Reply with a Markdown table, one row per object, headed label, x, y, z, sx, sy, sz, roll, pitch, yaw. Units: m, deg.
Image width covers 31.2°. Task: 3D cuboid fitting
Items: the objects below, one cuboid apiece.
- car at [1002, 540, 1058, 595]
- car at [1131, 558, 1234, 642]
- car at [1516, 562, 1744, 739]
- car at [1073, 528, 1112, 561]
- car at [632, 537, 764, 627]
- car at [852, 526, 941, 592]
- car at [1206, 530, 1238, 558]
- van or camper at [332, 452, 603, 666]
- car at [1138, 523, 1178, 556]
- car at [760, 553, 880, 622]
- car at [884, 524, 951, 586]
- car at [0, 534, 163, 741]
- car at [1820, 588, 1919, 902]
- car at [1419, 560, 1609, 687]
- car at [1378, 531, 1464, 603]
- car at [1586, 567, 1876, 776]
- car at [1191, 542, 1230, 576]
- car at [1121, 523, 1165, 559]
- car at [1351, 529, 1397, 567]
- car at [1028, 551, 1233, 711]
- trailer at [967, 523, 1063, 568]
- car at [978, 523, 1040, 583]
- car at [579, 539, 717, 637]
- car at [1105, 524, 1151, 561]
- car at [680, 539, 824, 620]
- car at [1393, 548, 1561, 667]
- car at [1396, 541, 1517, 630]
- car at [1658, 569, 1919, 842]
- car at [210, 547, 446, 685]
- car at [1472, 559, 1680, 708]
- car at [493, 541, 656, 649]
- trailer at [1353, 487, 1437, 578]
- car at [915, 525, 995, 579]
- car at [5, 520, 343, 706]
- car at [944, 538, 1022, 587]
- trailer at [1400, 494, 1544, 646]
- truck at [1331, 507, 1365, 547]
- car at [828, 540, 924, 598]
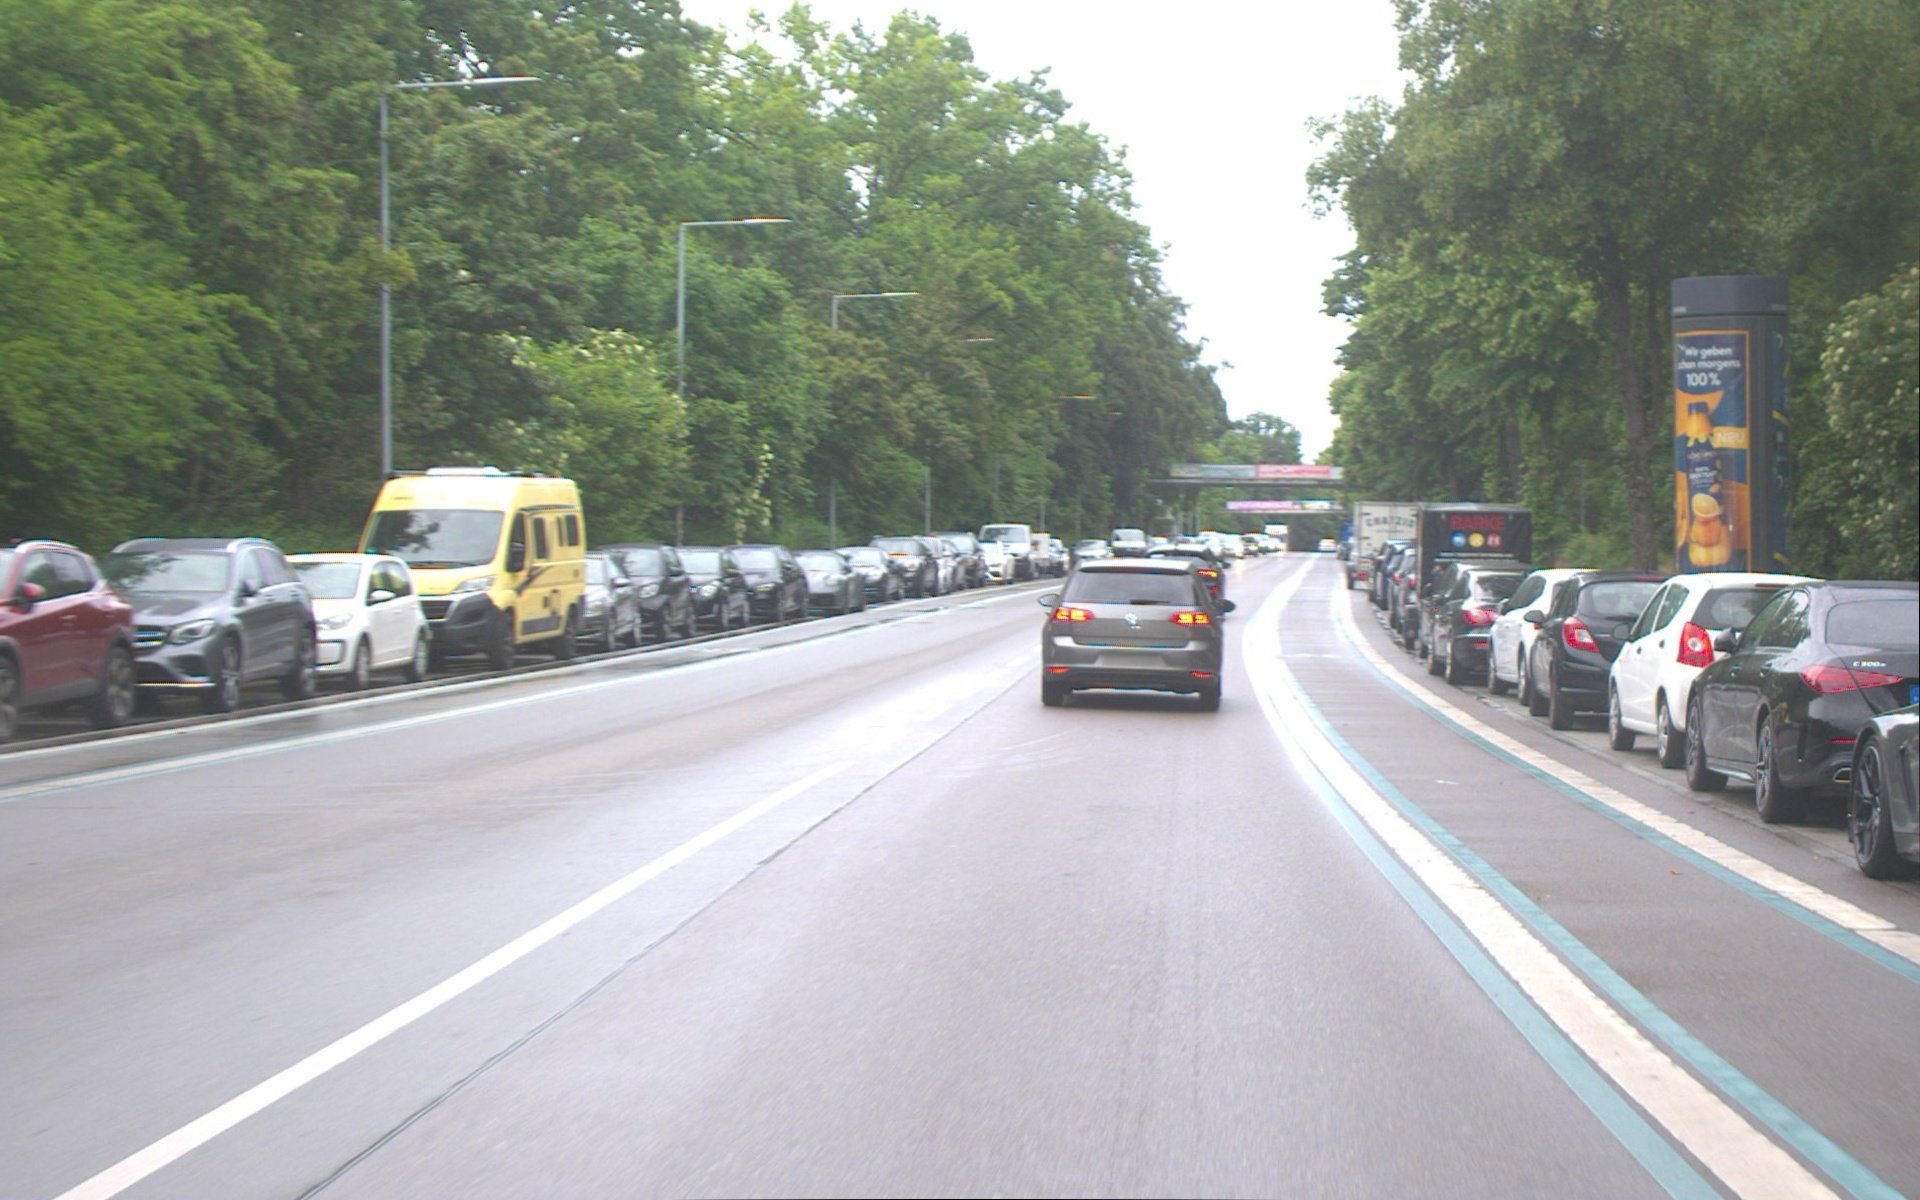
| label | x | y | z | sx | sy | sz | roll | pitch | yaw |
| --- | --- | --- | --- | --- | --- | --- | --- | --- | --- |
| car | 2.661 | -1.243 | 129.659 | 1.940 | 2.007 | 4.740 | 1 | 1 | 3 |
| car | 4.316 | -0.017 | 67.047 | 1.881 | 1.461 | 4.000 | 2 | 2 | 3 |
| car | 6.282 | 0.425 | 32.589 | 1.659 | 1.460 | 3.899 | 3 | 1 | 5 |
| car | 6.329 | -2.657 | 163.850 | 1.673 | 1.508 | 3.630 | 1 | 2 | 5 |
| car | -4.630 | -0.346 | 61.191 | 1.603 | 1.505 | 3.976 | 0 | 1 | 7 |
| car | -1.545 | -1.030 | 85.200 | 1.696 | 1.578 | 4.138 | 0 | 1 | 6 |
| car | 16.177 | -3.437 | 212.537 | 1.823 | 1.700 | 3.856 | 1 | 1 | 6 |
| van or camper | -6.346 | -0.564 | 45.023 | 2.144 | 2.618 | 5.681 | 0 | 1 | 7 |
| car | 12.275 | -3.766 | 212.904 | 2.159 | 2.007 | 5.030 | 0 | 1 | 7 |
| car | -2.833 | -0.280 | 70.574 | 1.870 | 1.299 | 4.470 | 1 | 1 | 5 |
| car | -1.095 | -1.191 | 89.623 | 1.461 | 1.566 | 2.984 | 0 | 1 | 5 |
| car | -8.265 | 0.267 | 28.334 | 1.919 | 1.611 | 4.489 | 0 | 1 | 6 |
| car | 5.265 | 0.697 | 15.211 | 1.853 | 1.394 | 4.385 | 2 | 1 | 1 |
| car | 6.762 | 0.246 | 42.385 | 1.752 | 1.388 | 4.446 | 2 | 1 | 2 |
| car | 10.241 | -0.760 | 76.594 | 1.682 | 1.476 | 4.318 | 1 | 2 | 5 |
| car | 5.957 | 0.505 | 26.926 | 1.560 | 1.455 | 3.676 | 1 | 1 | 3 |
| car | 12.849 | -2.086 | 176.231 | 1.823 | 1.700 | 3.856 | 1 | 1 | 6 |
| car | 10.417 | -3.379 | 195.810 | 2.159 | 2.007 | 5.030 | 0 | 1 | 7 |
| car | 17.790 | -2.257 | 147.866 | 1.898 | 1.601 | 3.999 | 1 | 1 | 6 |
| car | 1.735 | 0.295 | 34.304 | 1.871 | 1.436 | 4.295 | 2 | 0 | 4 |
| trailer | 1.996 | -1.979 | 124.161 | 1.629 | 1.623 | 3.665 | 1 | 2 | 37 |
| car | 1.734 | -1.651 | 119.137 | 1.940 | 2.007 | 4.740 | 1 | 1 | 3 |
| car | -5.042 | -0.220 | 55.858 | 1.603 | 1.505 | 3.138 | 0 | 1 | 7 |
| car | 9.187 | -3.159 | 187.894 | 2.159 | 2.007 | 5.030 | 0 | 1 | 7 |
| car | -3.927 | -0.414 | 65.537 | 1.994 | 1.447 | 4.137 | 0 | 1 | 7 |
| car | 7.105 | 0.065 | 47.635 | 1.822 | 1.480 | 4.200 | 2 | 1 | 3 |
| car | 8.439 | -0.279 | 58.732 | 1.795 | 1.445 | 4.428 | 0 | 1 | 5 |
| car | 5.631 | 0.578 | 21.452 | 1.856 | 1.450 | 4.750 | 1 | 1 | 4 |
| car | -7.065 | 0.144 | 38.733 | 1.618 | 1.443 | 3.656 | -1 | 1 | 6 |
| car | 6.675 | 0.321 | 37.612 | 1.618 | 1.461 | 4.000 | 2 | 1 | 2 |
| car | -5.632 | -0.108 | 50.667 | 1.679 | 1.493 | 4.148 | -1 | 1 | 4 |
| trailer | 12.579 | -1.969 | 99.678 | 2.132 | 2.551 | 4.297 | 1 | 1 | 4 |
| car | -0.119 | -1.454 | 102.341 | 1.880 | 1.556 | 4.467 | 1 | 1 | 6 |
| car | -7.627 | 0.064 | 33.845 | 1.994 | 1.694 | 4.615 | 0 | 1 | 4 |
| car | 0.759 | -1.210 | 108.782 | 1.994 | 1.483 | 4.467 | 1 | 1 | 6 |
| trailer | 7.902 | -0.506 | 53.365 | 1.906 | 2.240 | 4.767 | 1 | 1 | 5 |
| truck | 25.073 | -4.728 | 222.252 | 2.113 | 2.590 | 4.300 | 0 | 1 | 6 |
| car | -1.931 | -0.742 | 80.159 | 1.696 | 1.296 | 4.191 | 0 | 1 | 6 |
